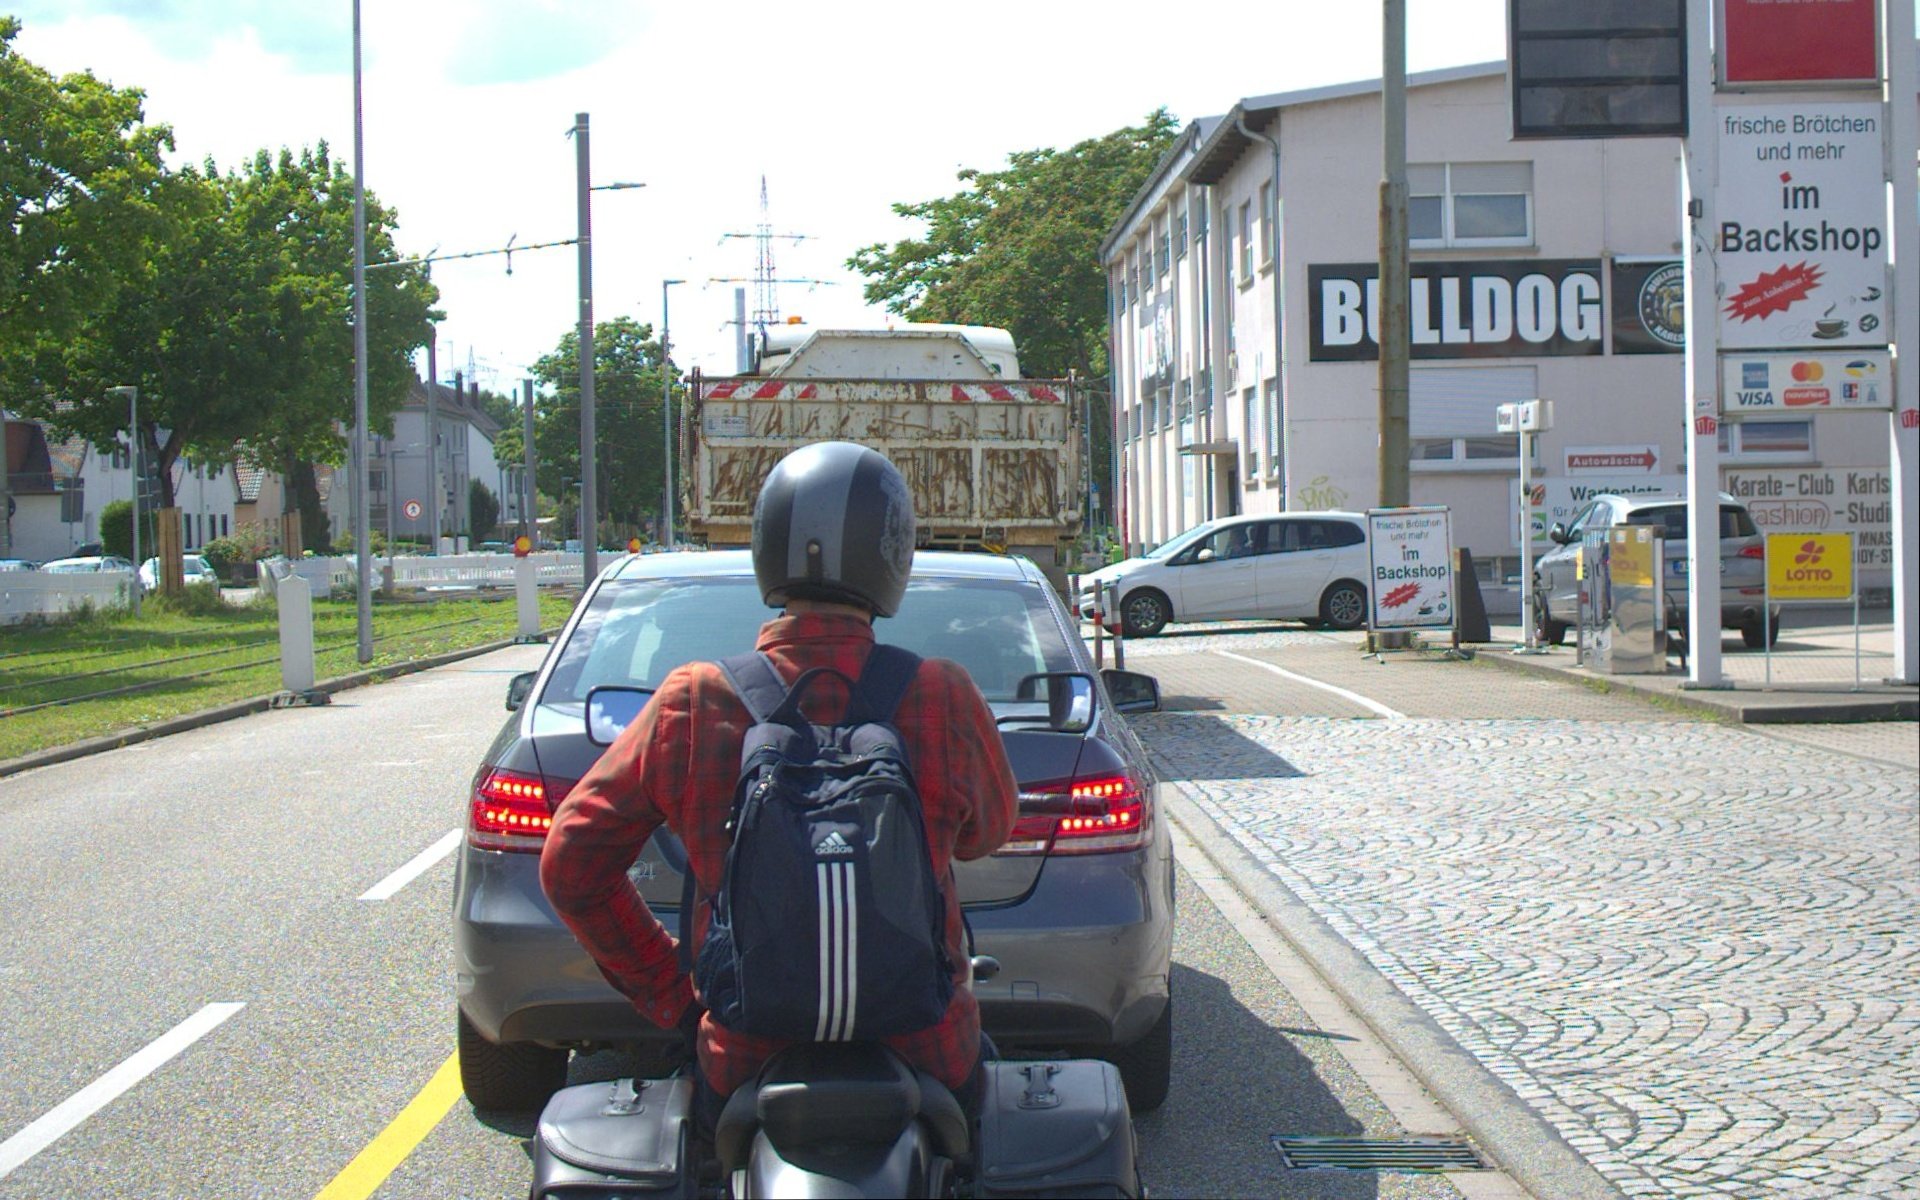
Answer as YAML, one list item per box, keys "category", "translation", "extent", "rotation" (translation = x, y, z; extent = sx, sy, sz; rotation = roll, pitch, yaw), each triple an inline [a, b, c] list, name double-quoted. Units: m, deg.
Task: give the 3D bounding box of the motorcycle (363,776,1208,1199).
- category: "motorcycle"
  translation: [-0.219, 0.865, 5.203]
  extent: [0.976, 1.010, 2.432]
  rotation: [1, 1, -1]

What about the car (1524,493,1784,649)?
- category: "car"
  translation: [7.322, -0.336, 36.640]
  extent: [1.832, 1.530, 4.010]
  rotation: [-1, 1, -2]

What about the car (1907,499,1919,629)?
- category: "car"
  translation: [11.786, -0.395, 37.238]
  extent: [1.832, 1.474, 4.010]
  rotation: [-1, 1, -2]

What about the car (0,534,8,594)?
- category: "car"
  translation: [-28.669, -0.984, 98.334]
  extent: [1.698, 1.733, 4.062]
  rotation: [-1, 1, 0]

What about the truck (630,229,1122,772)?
- category: "truck"
  translation: [-0.637, -0.711, 25.464]
  extent: [2.970, 3.293, 8.408]
  rotation: [-1, 1, -2]

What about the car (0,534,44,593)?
- category: "car"
  translation: [-29.265, -1.101, 104.585]
  extent: [1.698, 1.733, 4.062]
  rotation: [-1, 1, 0]

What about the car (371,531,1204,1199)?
- category: "car"
  translation: [-0.441, 0.568, 9.726]
  extent: [1.832, 1.474, 4.010]
  rotation: [-1, 1, -2]

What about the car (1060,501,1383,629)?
- category: "car"
  translation: [3.548, -0.495, 47.026]
  extent: [4.104, 1.619, 1.686]
  rotation: [-1, 1, -8]

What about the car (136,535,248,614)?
- category: "car"
  translation: [-17.796, -0.616, 79.818]
  extent: [1.698, 1.733, 3.860]
  rotation: [-1, 1, 0]

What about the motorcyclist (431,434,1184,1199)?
- category: "motorcyclist"
  translation: [-0.209, 0.590, 5.080]
  extent: [0.969, 1.627, 1.215]
  rotation: [1, 1, -1]
